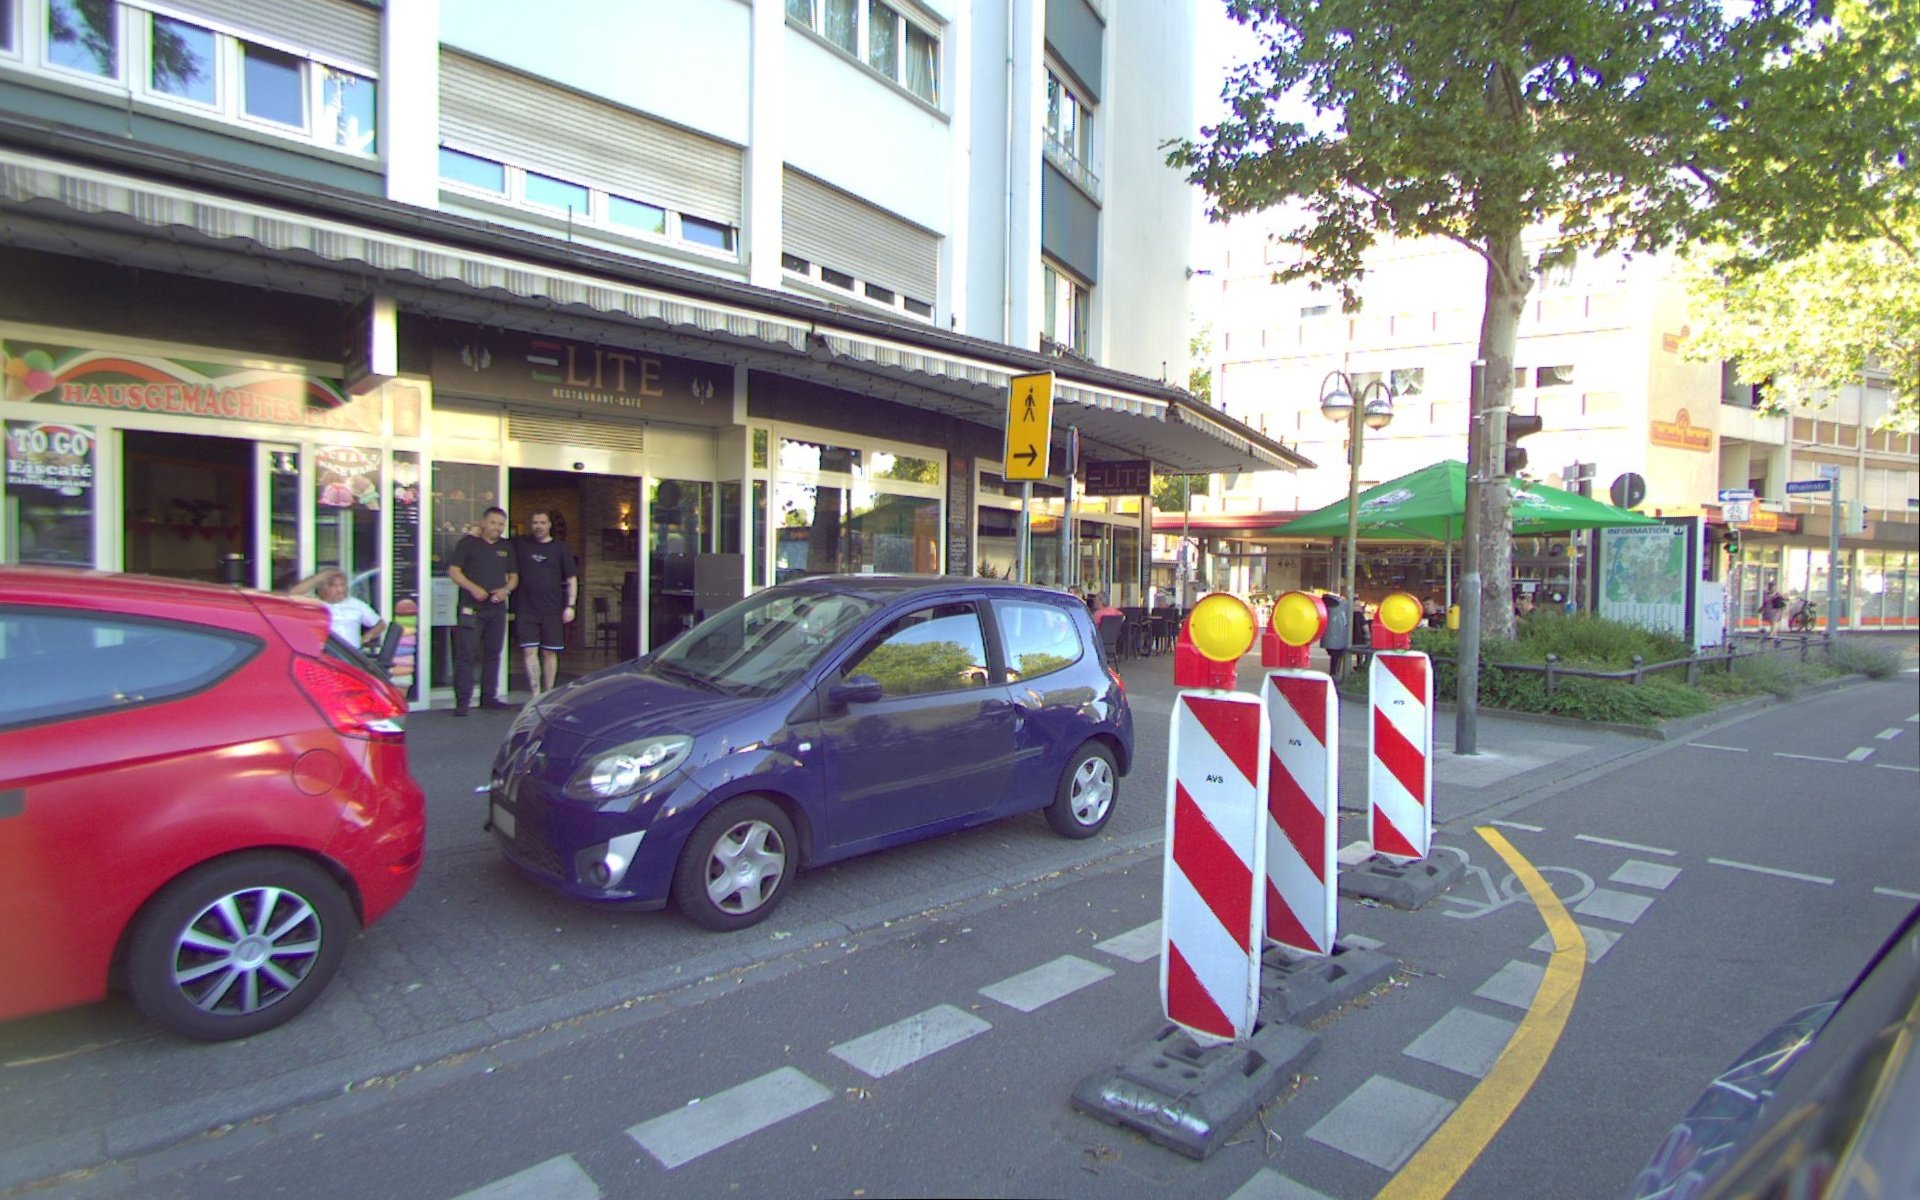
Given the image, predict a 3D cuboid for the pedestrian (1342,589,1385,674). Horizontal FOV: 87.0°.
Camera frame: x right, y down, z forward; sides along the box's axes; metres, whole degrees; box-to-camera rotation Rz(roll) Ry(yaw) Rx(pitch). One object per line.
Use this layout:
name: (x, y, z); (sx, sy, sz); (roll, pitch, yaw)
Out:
pedestrian: (5.942, 0.452, 14.916); (0.460, 1.235, 0.432); (1, 0, 5)

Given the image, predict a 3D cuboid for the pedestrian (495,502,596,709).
pedestrian: (-3.747, 0.031, 9.147); (0.635, 1.780, 0.611); (1, 3, -40)

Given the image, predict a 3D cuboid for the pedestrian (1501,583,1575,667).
pedestrian: (9.268, 0.382, 16.225); (0.753, 1.301, 0.720); (0, 1, -28)

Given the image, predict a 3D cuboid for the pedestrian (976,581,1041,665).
pedestrian: (0.702, 0.318, 14.657); (0.710, 1.144, 0.645); (3, 1, 25)

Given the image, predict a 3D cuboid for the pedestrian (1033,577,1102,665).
pedestrian: (1.586, 0.295, 14.919); (0.664, 1.233, 0.706); (3, 1, 43)

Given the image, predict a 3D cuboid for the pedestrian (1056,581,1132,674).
pedestrian: (1.855, 0.365, 14.028); (0.838, 1.213, 0.644); (3, 1, 27)

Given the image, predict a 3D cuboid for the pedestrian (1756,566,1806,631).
pedestrian: (23.138, -0.048, 28.534); (0.883, 1.779, 0.751); (0, 1, -24)

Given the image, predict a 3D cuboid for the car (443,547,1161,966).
car: (-0.643, 0.531, 5.499); (3.545, 1.484, 1.621); (0, 4, -44)

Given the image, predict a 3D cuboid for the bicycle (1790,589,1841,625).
bicycle: (28.124, 0.221, 33.256); (1.933, 1.157, 0.530); (0, 1, -26)

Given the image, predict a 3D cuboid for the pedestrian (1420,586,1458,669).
pedestrian: (7.455, 0.419, 15.772); (0.427, 1.234, 0.465); (3, 2, 20)

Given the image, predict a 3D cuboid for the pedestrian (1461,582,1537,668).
pedestrian: (8.417, 0.373, 15.823); (0.752, 1.301, 0.721); (0, 1, -27)

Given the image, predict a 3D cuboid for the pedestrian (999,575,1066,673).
pedestrian: (0.992, 0.312, 13.753); (0.644, 1.267, 0.711); (3, 1, 25)

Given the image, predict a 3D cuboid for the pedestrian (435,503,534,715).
pedestrian: (-4.128, 0.056, 8.778); (0.587, 1.756, 0.589); (1, 3, -42)

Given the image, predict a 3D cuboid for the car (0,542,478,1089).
car: (-3.644, 0.562, 2.853); (1.667, 1.446, 3.786); (5, 4, 44)

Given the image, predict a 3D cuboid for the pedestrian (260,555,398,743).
pedestrian: (-4.824, 0.318, 7.713); (0.765, 1.247, 1.207); (-1, 5, -38)

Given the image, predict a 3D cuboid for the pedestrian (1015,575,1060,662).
pedestrian: (1.165, 0.272, 15.279); (0.541, 1.259, 0.521); (2, 1, -7)

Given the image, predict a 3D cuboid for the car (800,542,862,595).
car: (-4.529, -1.104, 36.022); (1.960, 1.771, 4.004); (1, 1, -5)
